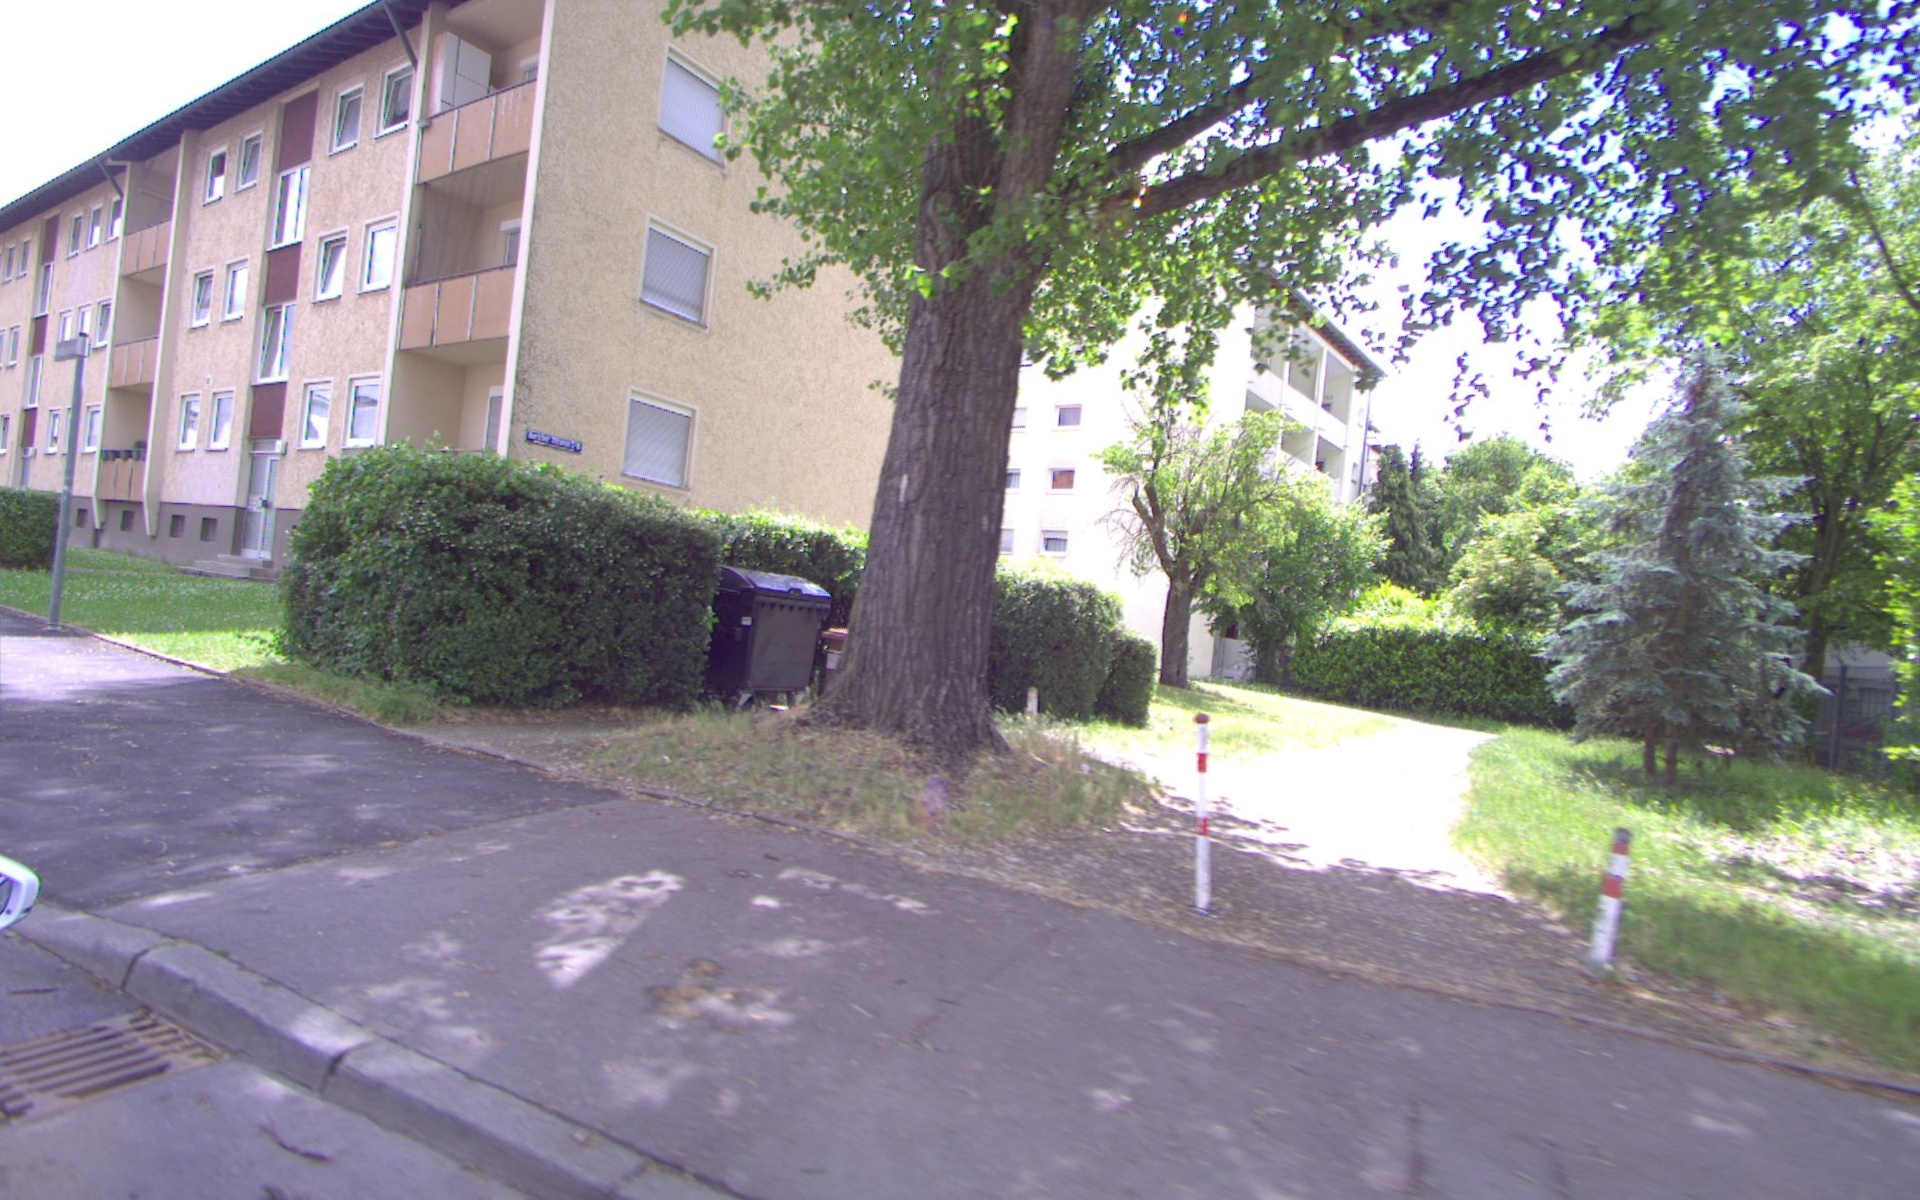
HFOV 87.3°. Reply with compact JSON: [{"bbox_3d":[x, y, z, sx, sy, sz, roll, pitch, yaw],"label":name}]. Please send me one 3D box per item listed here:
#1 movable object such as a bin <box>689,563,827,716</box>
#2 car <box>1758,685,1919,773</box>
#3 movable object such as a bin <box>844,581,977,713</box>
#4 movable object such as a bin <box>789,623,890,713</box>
[{"bbox_3d":[-2.118,0.417,10.642,0.749,1.457,1.099,7,1,31],"label":"movable object such as a bin"},{"bbox_3d":[21.337,3.057,23.464,3.935,1.548,1.744,7,1,33],"label":"car"},{"bbox_3d":[-0.599,0.577,12.512,1.040,1.457,1.170,7,1,31],"label":"movable object such as a bin"},{"bbox_3d":[-1.406,0.786,11.757,0.749,0.927,0.803,7,1,31],"label":"movable object such as a bin"}]
